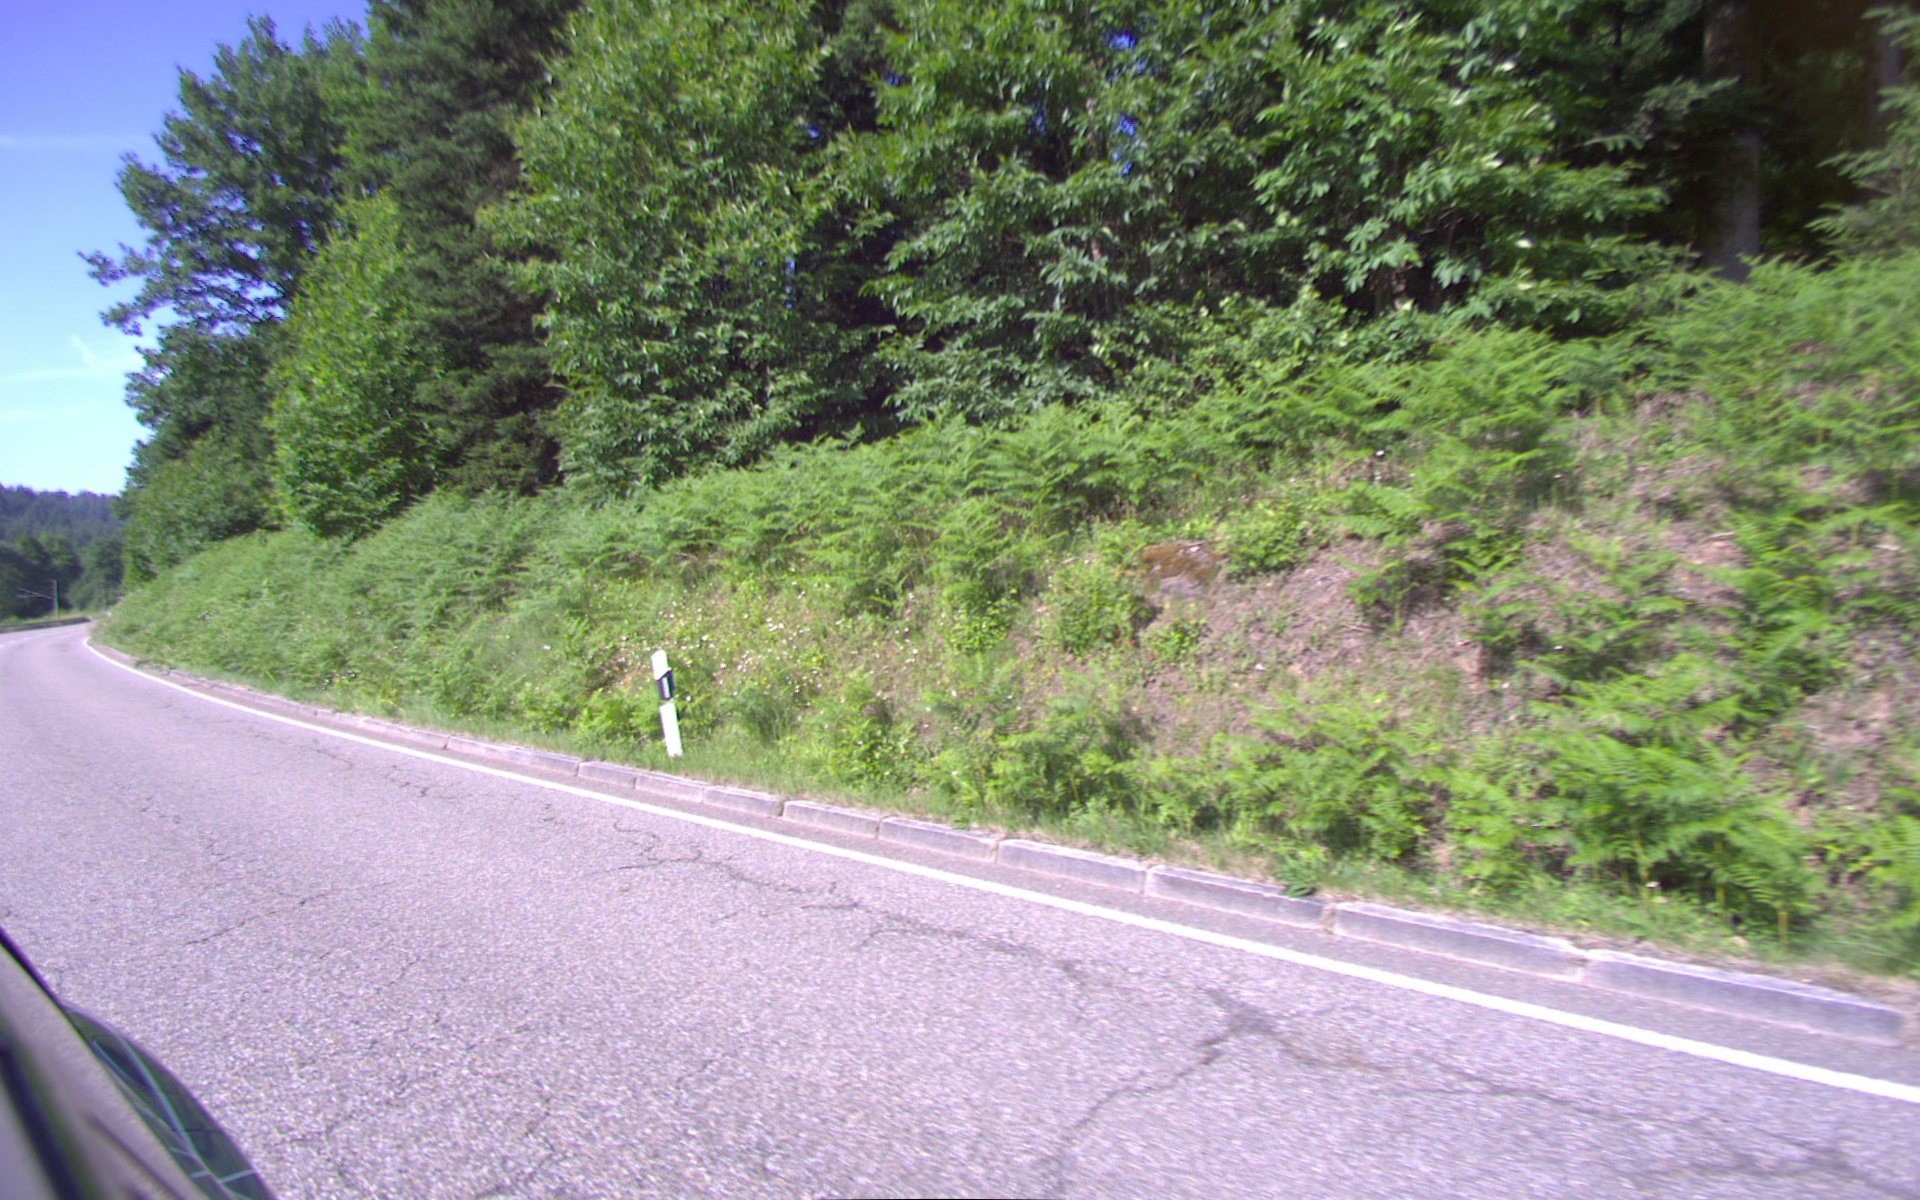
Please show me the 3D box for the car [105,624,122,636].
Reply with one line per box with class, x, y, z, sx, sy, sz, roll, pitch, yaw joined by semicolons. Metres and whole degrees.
car;-122.749;4.309;146.735;1.678;1.563;3.793;-3;2;-43
